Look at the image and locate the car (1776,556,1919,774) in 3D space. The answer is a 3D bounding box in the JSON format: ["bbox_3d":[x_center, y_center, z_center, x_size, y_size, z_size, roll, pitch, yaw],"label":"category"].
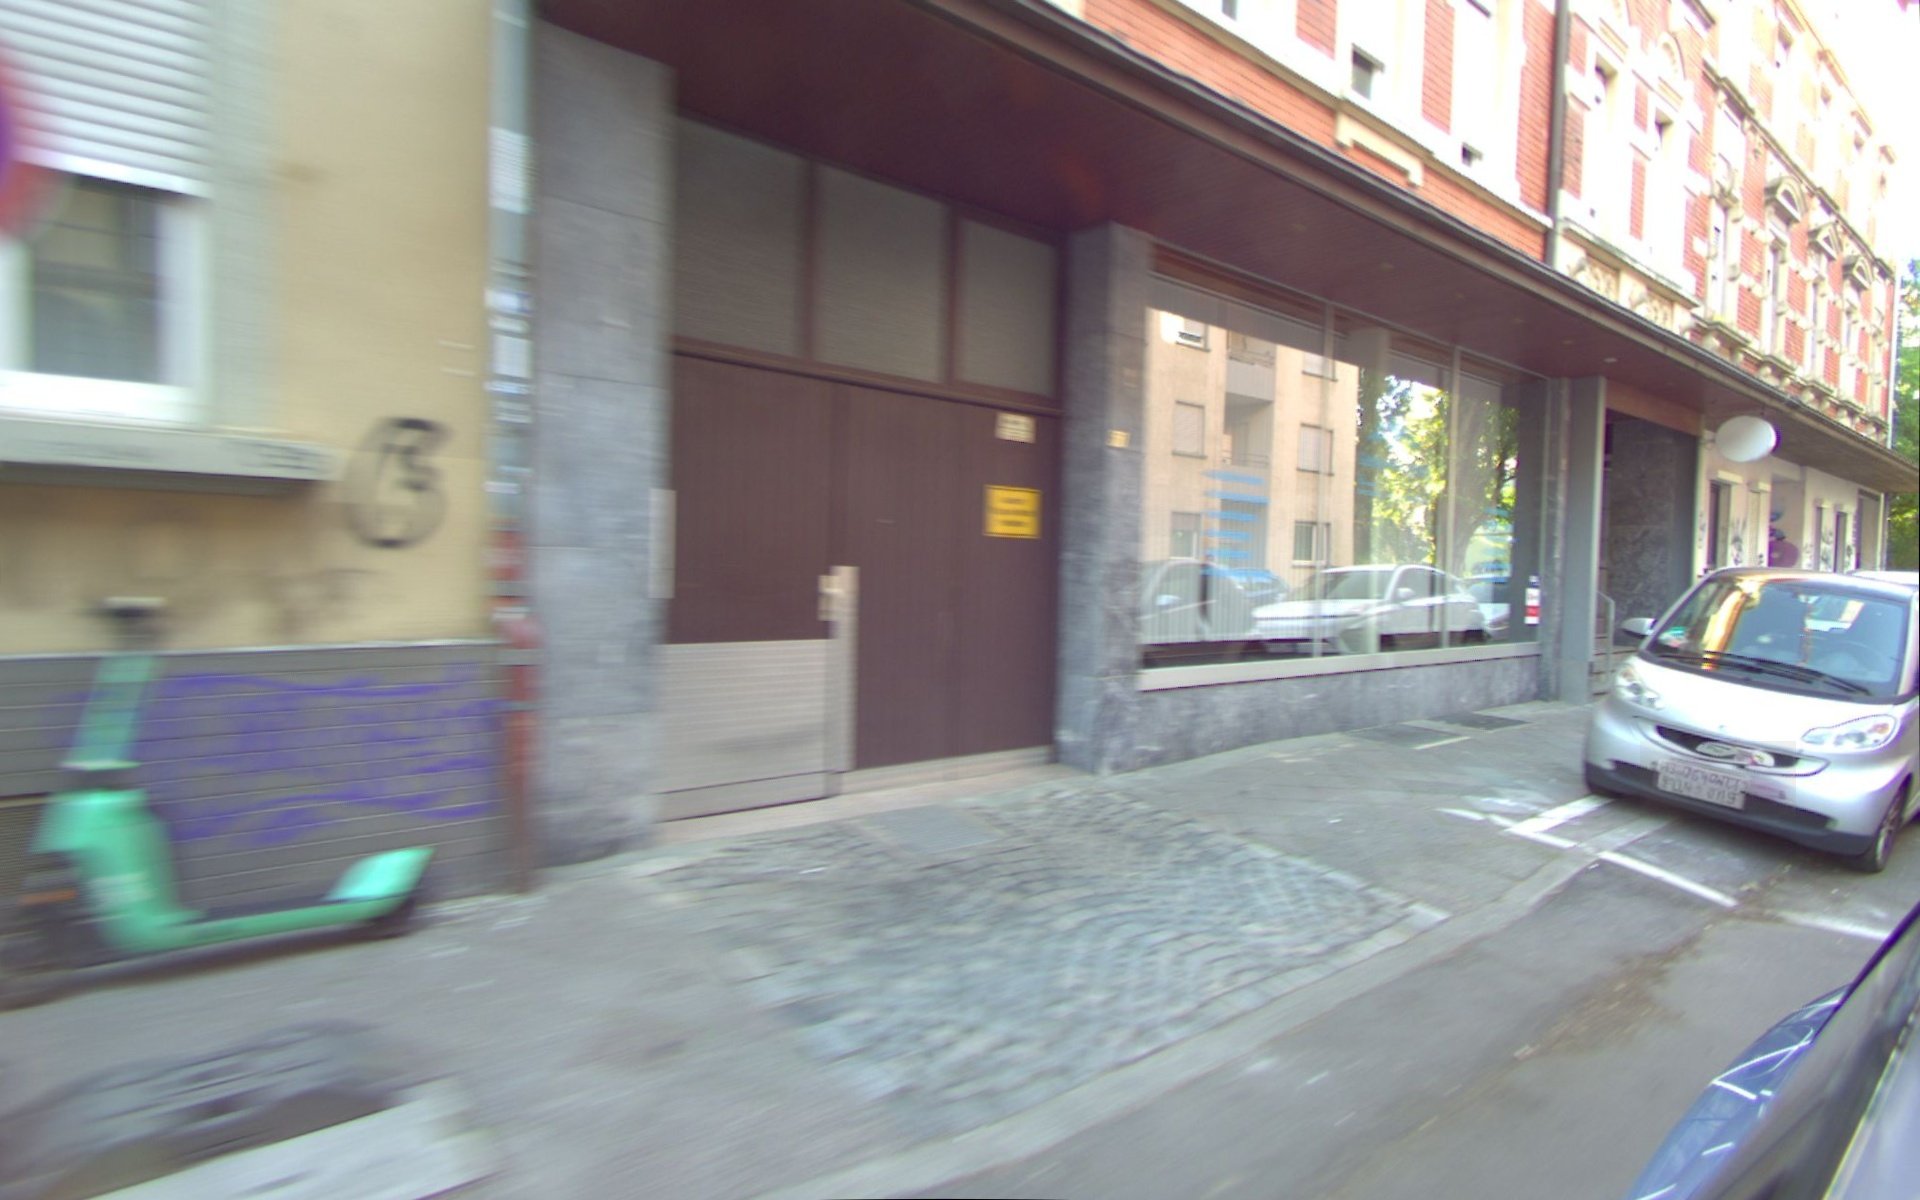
[{"bbox_3d":[8.892,0.479,9.115,3.987,1.683,1.603,-1,0,-39],"label":"car"}]

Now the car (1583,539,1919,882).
[{"bbox_3d":[5.643,0.496,6.565,3.401,1.551,1.527,-1,8,-39],"label":"car"}]

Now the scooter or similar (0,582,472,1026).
[{"bbox_3d":[-2.322,0.542,3.106,1.418,1.157,0.389,-1,6,-40],"label":"scooter or similar"}]
